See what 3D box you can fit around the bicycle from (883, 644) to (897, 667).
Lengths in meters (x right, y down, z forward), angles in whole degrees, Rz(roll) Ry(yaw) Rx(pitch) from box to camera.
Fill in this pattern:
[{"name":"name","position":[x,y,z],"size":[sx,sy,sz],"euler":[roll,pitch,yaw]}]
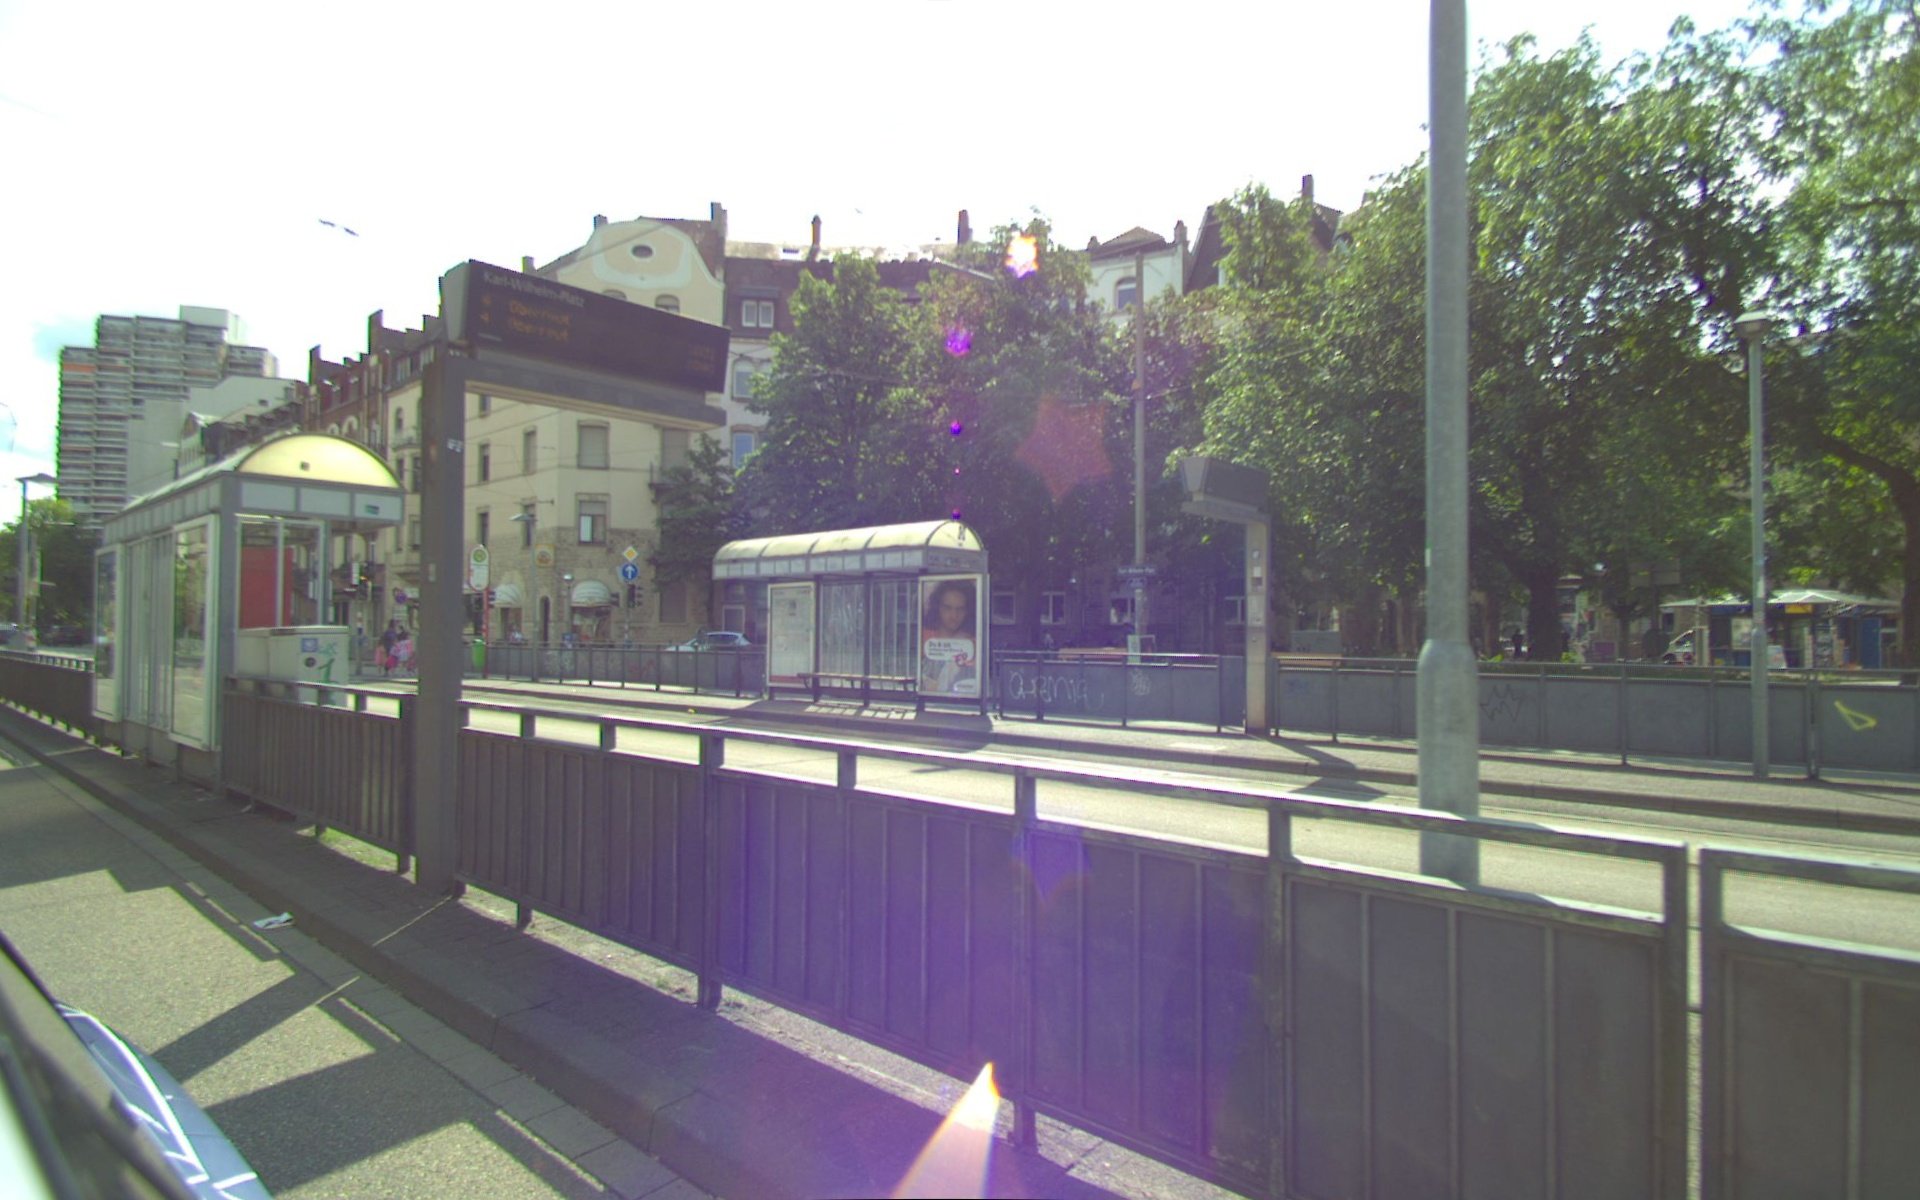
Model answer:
[{"name":"bicycle","position":[-2.979,2.369,43.106],"size":[0.538,0.889,2.032],"euler":[0,-1,-2]}]

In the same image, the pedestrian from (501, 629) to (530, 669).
[{"name":"pedestrian","position":[-18.230,1.988,41.474],"size":[0.963,1.553,0.686],"euler":[-2,1,43]}]

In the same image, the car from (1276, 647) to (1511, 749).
[{"name":"car","position":[8.598,1.866,20.289],"size":[3.999,1.790,1.662],"euler":[-2,-3,42]}]

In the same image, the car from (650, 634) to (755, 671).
[{"name":"car","position":[-10.146,2.055,40.078],"size":[3.814,1.431,1.723],"euler":[0,-2,-5]}]

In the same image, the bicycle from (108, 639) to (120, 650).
[{"name":"bicycle","position":[-67.238,3.501,80.445],"size":[0.579,0.803,1.874],"euler":[-1,0,-44]}]

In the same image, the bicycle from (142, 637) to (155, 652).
[{"name":"bicycle","position":[-59.054,3.233,73.629],"size":[0.532,1.037,1.874],"euler":[2,-2,-44]}]

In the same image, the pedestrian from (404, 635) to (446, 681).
[{"name":"pedestrian","position":[-15.711,1.712,29.741],"size":[0.716,1.314,0.818],"euler":[-1,-5,37]}]

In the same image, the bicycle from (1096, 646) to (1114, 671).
[{"name":"bicycle","position":[5.948,2.389,41.464],"size":[0.566,0.905,2.022],"euler":[0,-1,14]}]

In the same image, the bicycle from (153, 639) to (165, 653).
[{"name":"bicycle","position":[-54.823,3.138,69.278],"size":[0.517,0.913,2.070],"euler":[2,-1,-41]}]

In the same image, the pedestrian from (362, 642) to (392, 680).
[{"name":"pedestrian","position":[-17.374,1.816,30.168],"size":[0.443,1.122,0.635],"euler":[-1,-3,37]}]

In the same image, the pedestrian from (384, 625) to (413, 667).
[{"name":"pedestrian","position":[-24.112,1.958,43.456],"size":[0.873,1.717,0.748],"euler":[-2,1,41]}]

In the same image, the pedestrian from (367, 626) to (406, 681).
[{"name":"pedestrian","position":[-16.899,1.569,29.826],"size":[0.798,1.577,0.721],"euler":[-1,-3,37]}]

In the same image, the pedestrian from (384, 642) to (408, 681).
[{"name":"pedestrian","position":[-16.415,1.785,29.467],"size":[0.422,1.117,0.433],"euler":[-1,-5,37]}]

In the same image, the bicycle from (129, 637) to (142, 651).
[{"name":"bicycle","position":[-62.418,3.331,76.607],"size":[0.579,0.993,1.874],"euler":[2,-2,-44]}]

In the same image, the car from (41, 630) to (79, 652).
[{"name":"car","position":[-73.840,3.356,82.983],"size":[4.329,1.724,1.773],"euler":[-2,-3,41]}]

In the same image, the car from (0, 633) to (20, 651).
[{"name":"car","position":[-77.639,3.415,82.121],"size":[3.434,1.398,1.608],"euler":[-2,-4,41]}]
